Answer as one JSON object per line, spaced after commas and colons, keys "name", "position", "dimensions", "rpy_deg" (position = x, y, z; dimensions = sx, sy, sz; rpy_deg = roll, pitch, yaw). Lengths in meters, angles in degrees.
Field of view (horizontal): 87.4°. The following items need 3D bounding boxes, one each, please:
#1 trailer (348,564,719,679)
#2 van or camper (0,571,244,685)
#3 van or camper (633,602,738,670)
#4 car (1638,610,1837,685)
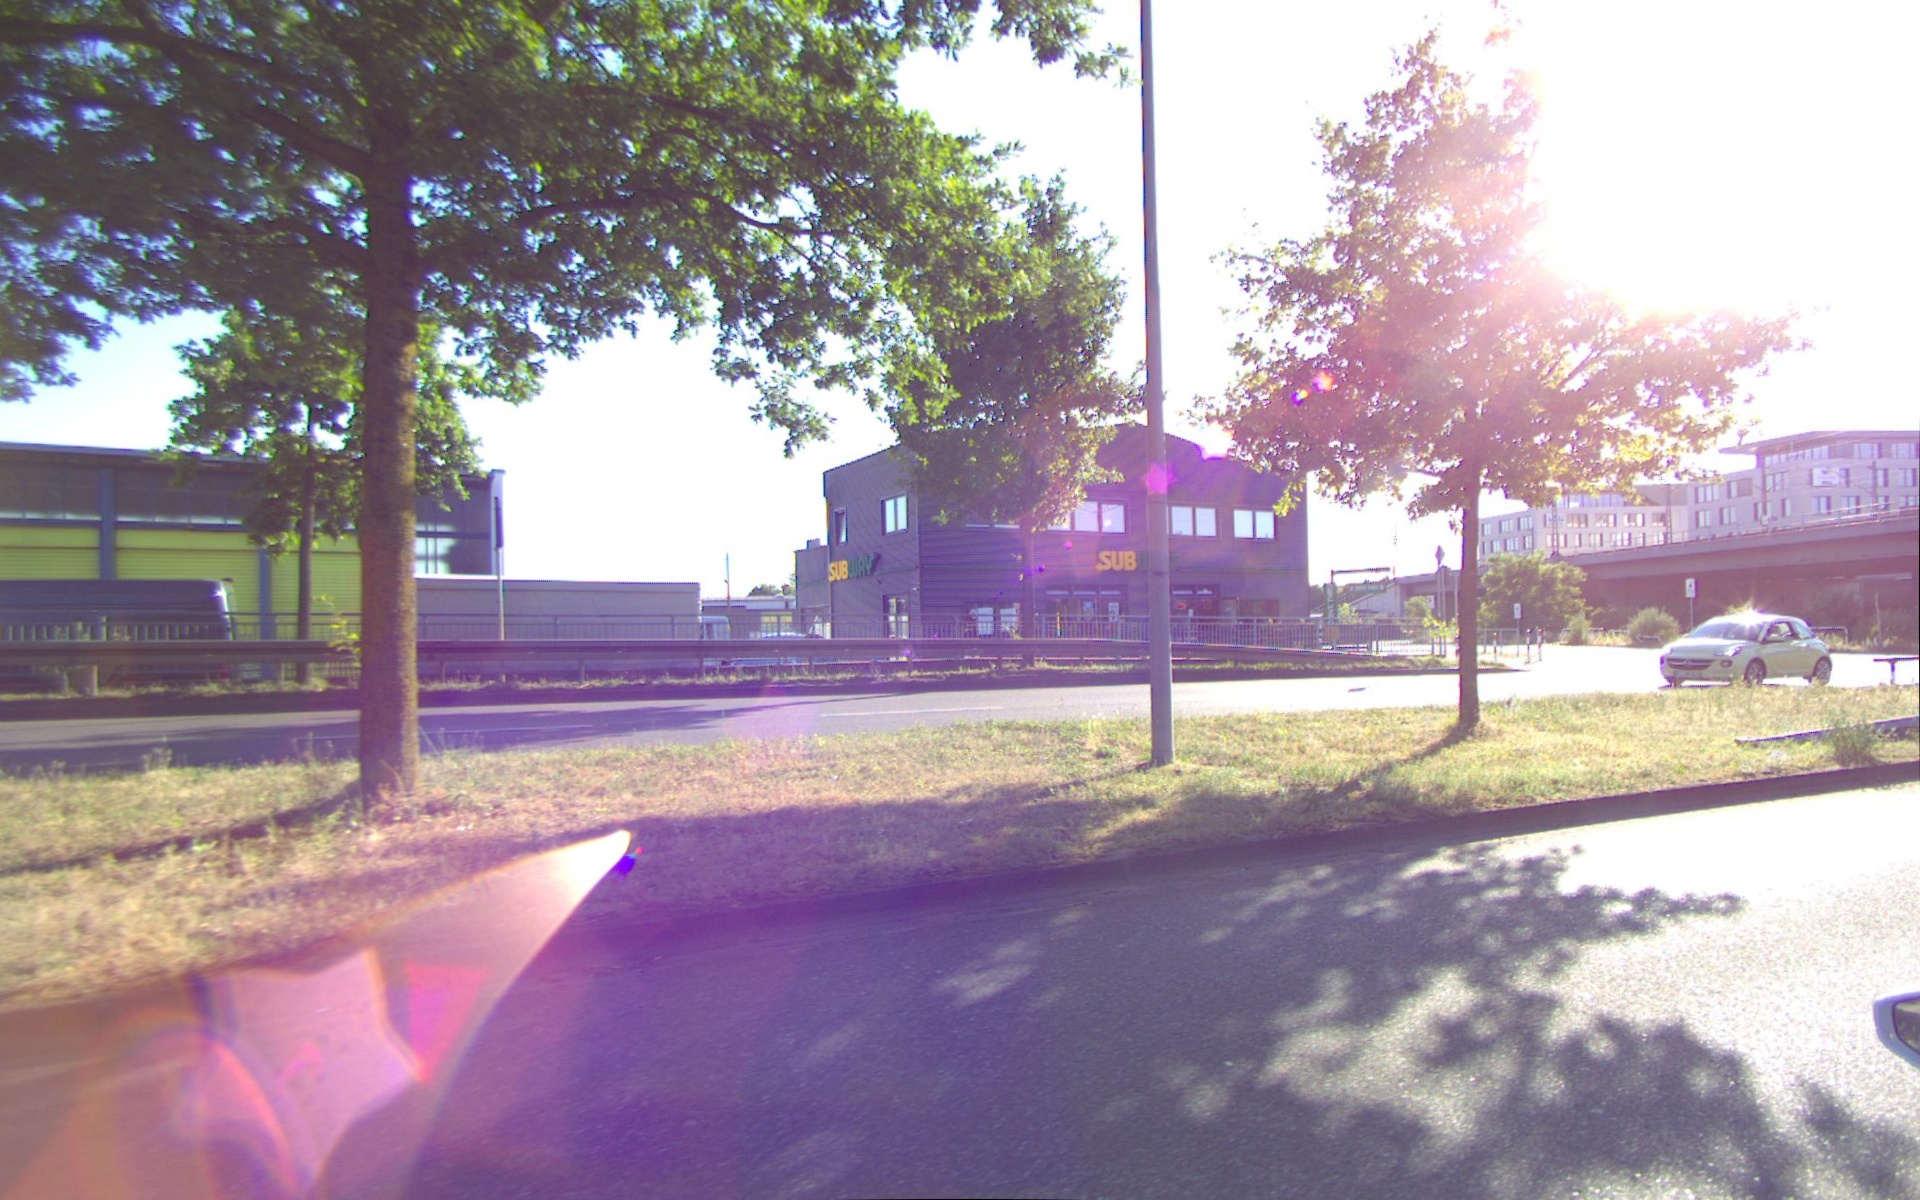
{"name": "trailer", "position": [-8.411, 0.478, 20.168], "dimensions": [6.531, 1.996, 2.407], "rpy_deg": [2, -2, -31]}
{"name": "van or camper", "position": [-14.618, 0.447, 16.135], "dimensions": [4.906, 1.708, 1.983], "rpy_deg": [2, -2, -33]}
{"name": "van or camper", "position": [-8.470, 1.143, 31.360], "dimensions": [1.960, 1.951, 4.231], "rpy_deg": [1, -2, 2]}
{"name": "car", "position": [16.454, 1.010, 21.263], "dimensions": [3.712, 1.482, 1.737], "rpy_deg": [2, -2, -23]}
